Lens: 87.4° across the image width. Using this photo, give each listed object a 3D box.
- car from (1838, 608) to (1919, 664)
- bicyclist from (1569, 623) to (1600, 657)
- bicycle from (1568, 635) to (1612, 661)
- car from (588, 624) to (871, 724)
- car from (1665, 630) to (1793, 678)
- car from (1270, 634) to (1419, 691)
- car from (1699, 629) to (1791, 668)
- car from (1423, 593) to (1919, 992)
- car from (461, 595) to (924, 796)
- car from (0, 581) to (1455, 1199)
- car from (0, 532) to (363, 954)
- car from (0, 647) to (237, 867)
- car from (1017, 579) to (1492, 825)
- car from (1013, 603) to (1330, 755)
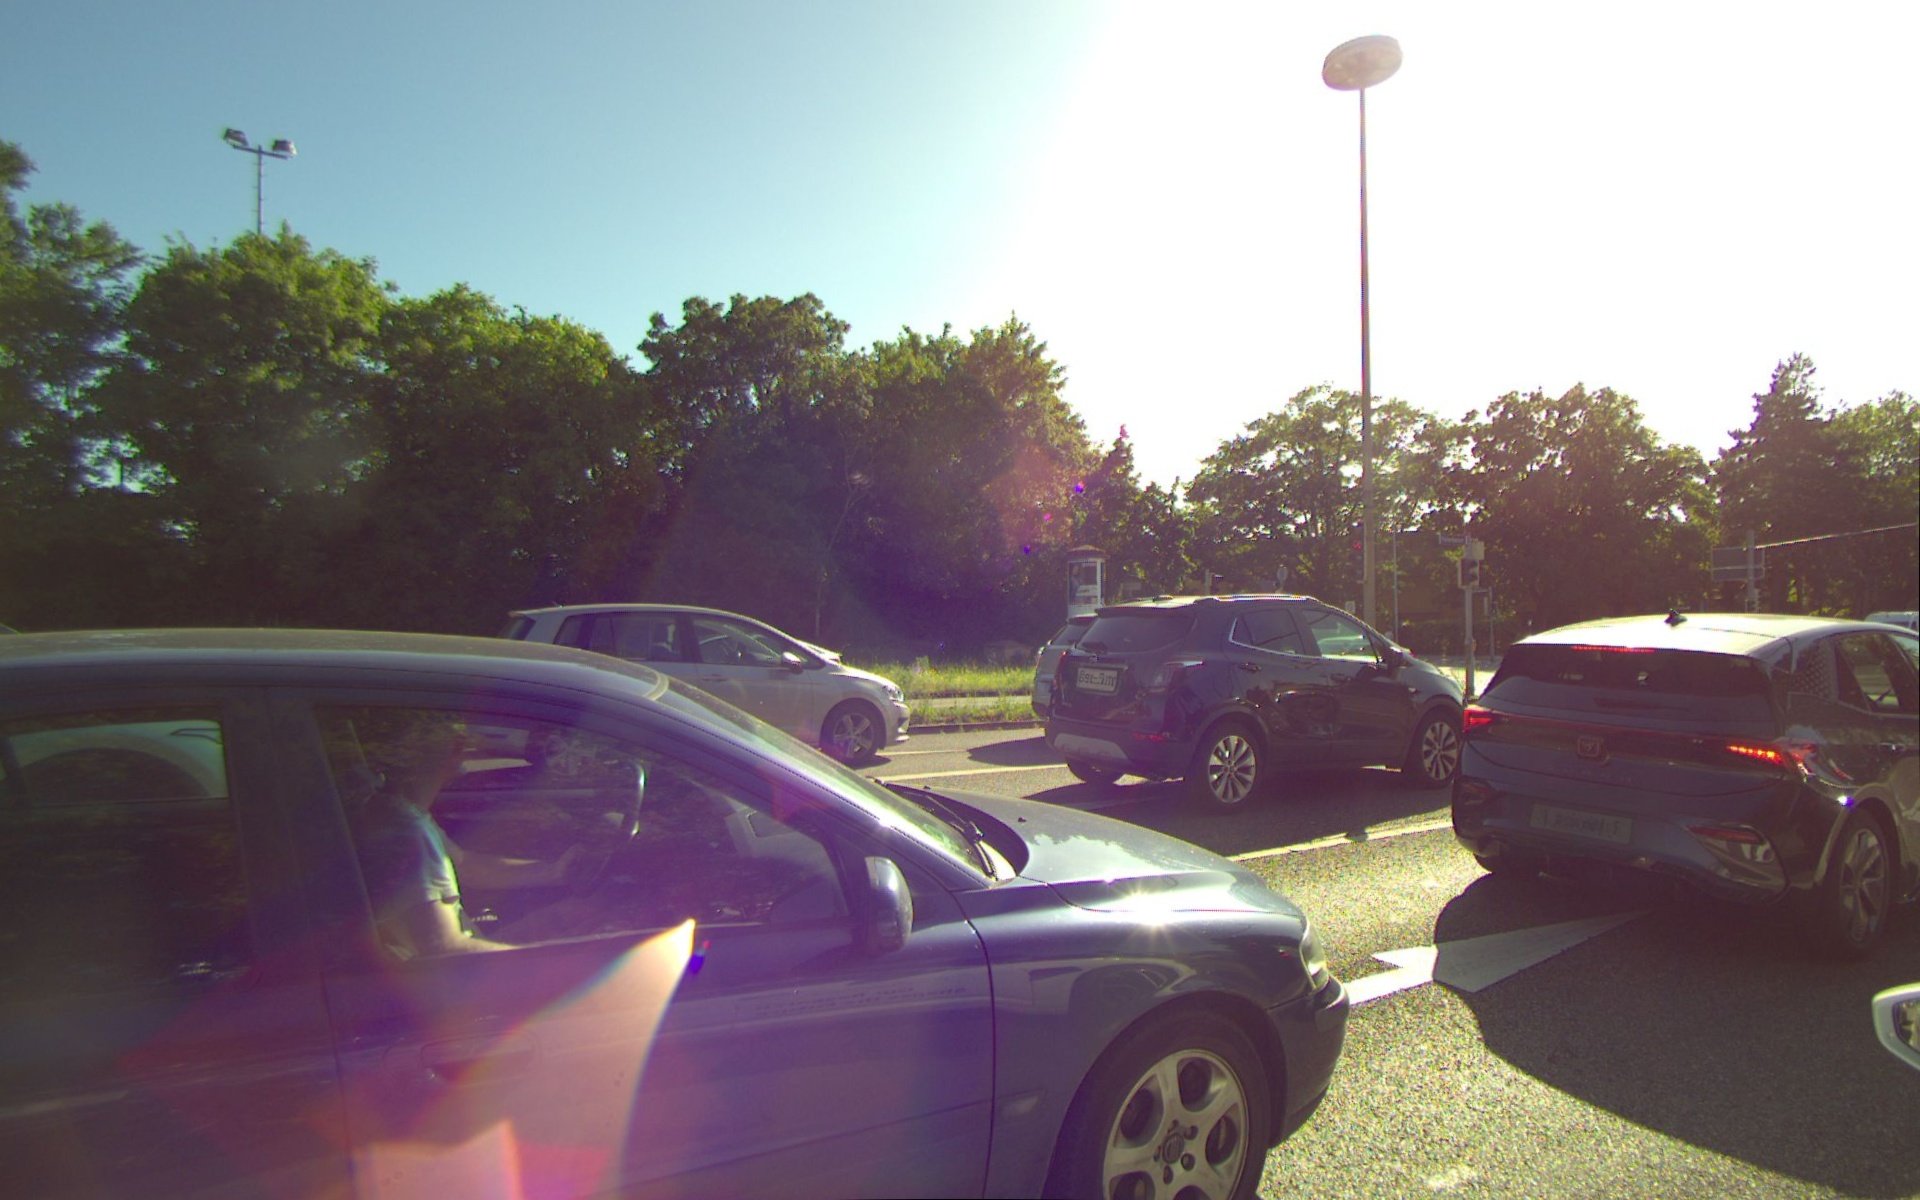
[{"bbox_3d":[44.386,1.701,47.809,5.934,2.525,2.090,1,-2,-30],"label":"car"},{"bbox_3d":[30.985,1.985,49.840,1.187,1.670,0.870,1,-2,-34],"label":"bicyclist"},{"bbox_3d":[31.290,2.375,49.871,2.509,1.228,0.870,1,-2,-34],"label":"bicycle"},{"bbox_3d":[-3.957,1.201,17.435,4.451,1.544,1.880,1,-2,-30],"label":"car"},{"bbox_3d":[24.812,1.708,32.383,4.561,1.452,1.678,1,-2,-30],"label":"car"},{"bbox_3d":[10.686,1.684,27.831,4.172,1.475,1.633,1,-2,-30],"label":"car"},{"bbox_3d":[32.488,1.971,41.552,3.956,1.529,1.678,1,-2,-30],"label":"car"},{"bbox_3d":[4.748,0.828,5.825,4.158,1.601,1.676,2,-1,-30],"label":"car"},{"bbox_3d":[-2.605,0.836,10.015,4.156,1.632,1.822,1,-2,-30],"label":"car"},{"bbox_3d":[-1.088,0.726,2.210,4.404,1.471,1.767,2,0,-30],"label":"car"},{"bbox_3d":[-5.261,0.597,4.507,4.373,1.732,1.984,1,-2,-30],"label":"car"},{"bbox_3d":[-7.905,1.075,6.952,4.499,1.448,1.822,1,-2,-30],"label":"car"},{"bbox_3d":[2.628,0.770,8.804,3.953,1.711,1.796,1,-2,-30],"label":"car"},{"bbox_3d":[2.819,0.953,13.191,3.956,1.724,1.820,1,-2,-32],"label":"car"}]
